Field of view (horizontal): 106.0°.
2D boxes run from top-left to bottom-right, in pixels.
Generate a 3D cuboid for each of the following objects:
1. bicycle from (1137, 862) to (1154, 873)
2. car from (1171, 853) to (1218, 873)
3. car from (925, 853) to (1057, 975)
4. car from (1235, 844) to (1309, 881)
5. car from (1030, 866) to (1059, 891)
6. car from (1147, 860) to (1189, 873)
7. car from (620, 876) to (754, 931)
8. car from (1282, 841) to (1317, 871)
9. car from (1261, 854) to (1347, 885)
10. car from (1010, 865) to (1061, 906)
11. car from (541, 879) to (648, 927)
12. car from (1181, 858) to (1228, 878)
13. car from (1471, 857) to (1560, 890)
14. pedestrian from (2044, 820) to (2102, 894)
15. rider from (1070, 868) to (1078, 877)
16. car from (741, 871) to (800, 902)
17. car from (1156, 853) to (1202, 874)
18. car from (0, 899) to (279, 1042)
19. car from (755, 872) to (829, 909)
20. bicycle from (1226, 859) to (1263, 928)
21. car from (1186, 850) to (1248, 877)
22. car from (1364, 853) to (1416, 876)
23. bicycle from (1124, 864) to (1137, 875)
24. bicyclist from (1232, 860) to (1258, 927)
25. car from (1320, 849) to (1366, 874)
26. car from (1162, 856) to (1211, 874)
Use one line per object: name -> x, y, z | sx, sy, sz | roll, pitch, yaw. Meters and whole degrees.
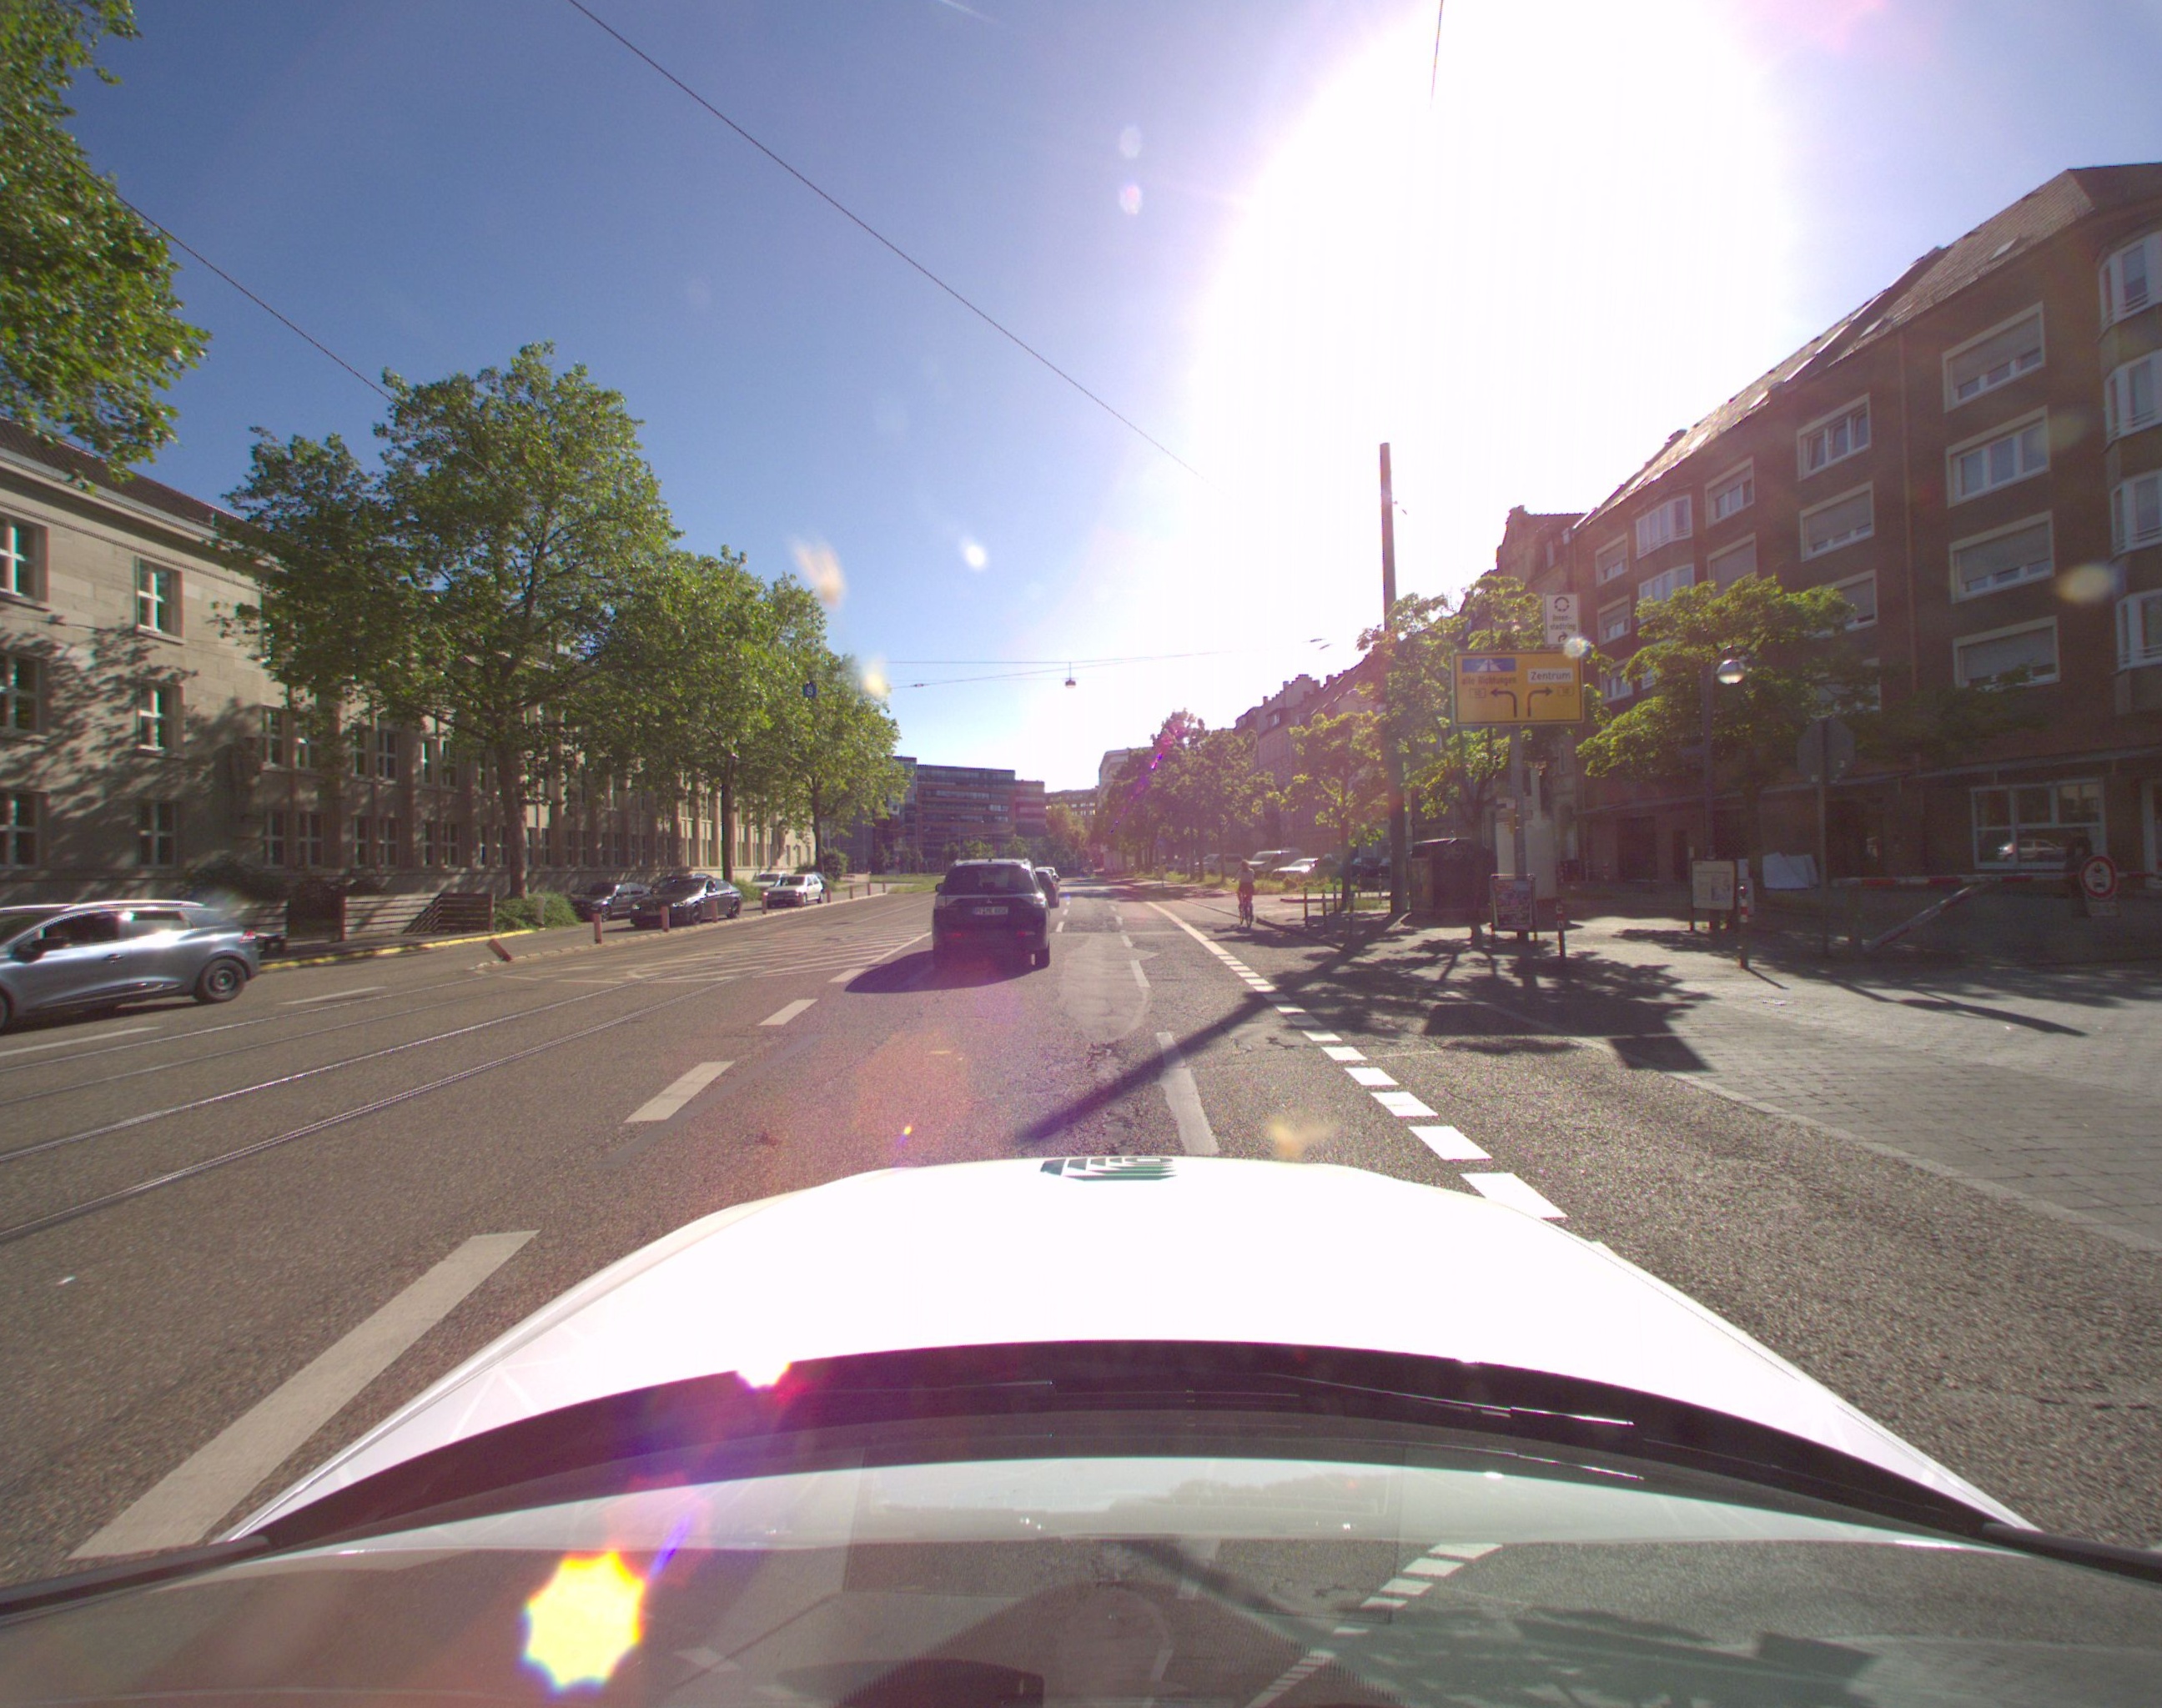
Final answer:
bicycle -> 7.921, 1.658, 99.862 | 1.953, 1.192, 0.840 | -3, -1, -3
car -> 11.653, 0.940, 83.774 | 4.529, 1.727, 1.980 | -3, -1, -32
car -> -1.393, 0.900, 13.831 | 1.832, 1.682, 4.637 | -1, -1, -3
car -> 12.617, 0.545, 53.756 | 4.903, 2.075, 1.998 | -3, 0, -37
car -> -2.212, 1.493, 49.276 | 1.628, 1.423, 3.777 | 1, -3, -3
car -> 10.246, 1.467, 96.143 | 4.773, 1.380, 2.023 | -1, -1, -36
car -> -12.743, 1.536, 26.741 | 1.823, 1.453, 4.962 | -3, -1, 1
car -> 20.463, 0.188, 76.468 | 1.987, 2.585, 4.511 | -3, 0, -1
car -> 12.701, 0.883, 46.294 | 4.901, 1.435, 1.999 | -3, 0, -35
car -> -1.674, 1.189, 30.454 | 1.730, 1.423, 4.462 | 1, -3, -3
car -> -17.881, 1.756, 30.182 | 1.669, 1.547, 4.183 | -2, -1, -4
car -> 11.302, 1.264, 74.443 | 4.048, 1.478, 1.793 | -3, -1, -36
car -> 21.230, 0.921, 39.999 | 1.986, 1.474, 4.490 | -2, -1, 1
pedestrian -> 24.297, 0.070, 19.954 | 0.589, 1.760, 0.641 | -1, -1, -1
rider -> -0.872, 2.365, 105.244 | 0.498, 1.176, 1.683 | -2, 0, 15
car -> -18.232, 1.865, 48.031 | 1.824, 1.587, 4.394 | -3, -1, -1
car -> 10.863, 1.048, 89.946 | 4.903, 2.013, 2.077 | -3, -1, -36
car -> -12.478, 1.374, 9.771 | 1.611, 1.412, 4.087 | -3, -1, -1
car -> -13.009, 1.609, 36.933 | 1.824, 1.453, 4.169 | -3, -1, 0
bicycle -> 4.136, 0.960, 20.698 | 0.436, 1.639, 1.937 | -2, -1, -1
car -> 11.968, 0.831, 71.638 | 5.206, 2.013, 2.079 | -3, -1, -32
car -> 20.849, 0.667, 55.143 | 1.723, 1.420, 4.290 | -3, 0, -2
bicycle -> 6.055, 1.863, 99.421 | 0.760, 1.290, 1.608 | -3, -1, 38
bicyclist -> 4.135, 0.979, 20.570 | 0.436, 1.639, 0.779 | -2, -1, -1
car -> 20.912, 0.560, 65.200 | 1.989, 1.799, 4.622 | -3, 0, -2
car -> 11.322, 1.197, 87.357 | 4.898, 1.648, 2.079 | -3, -1, -32
